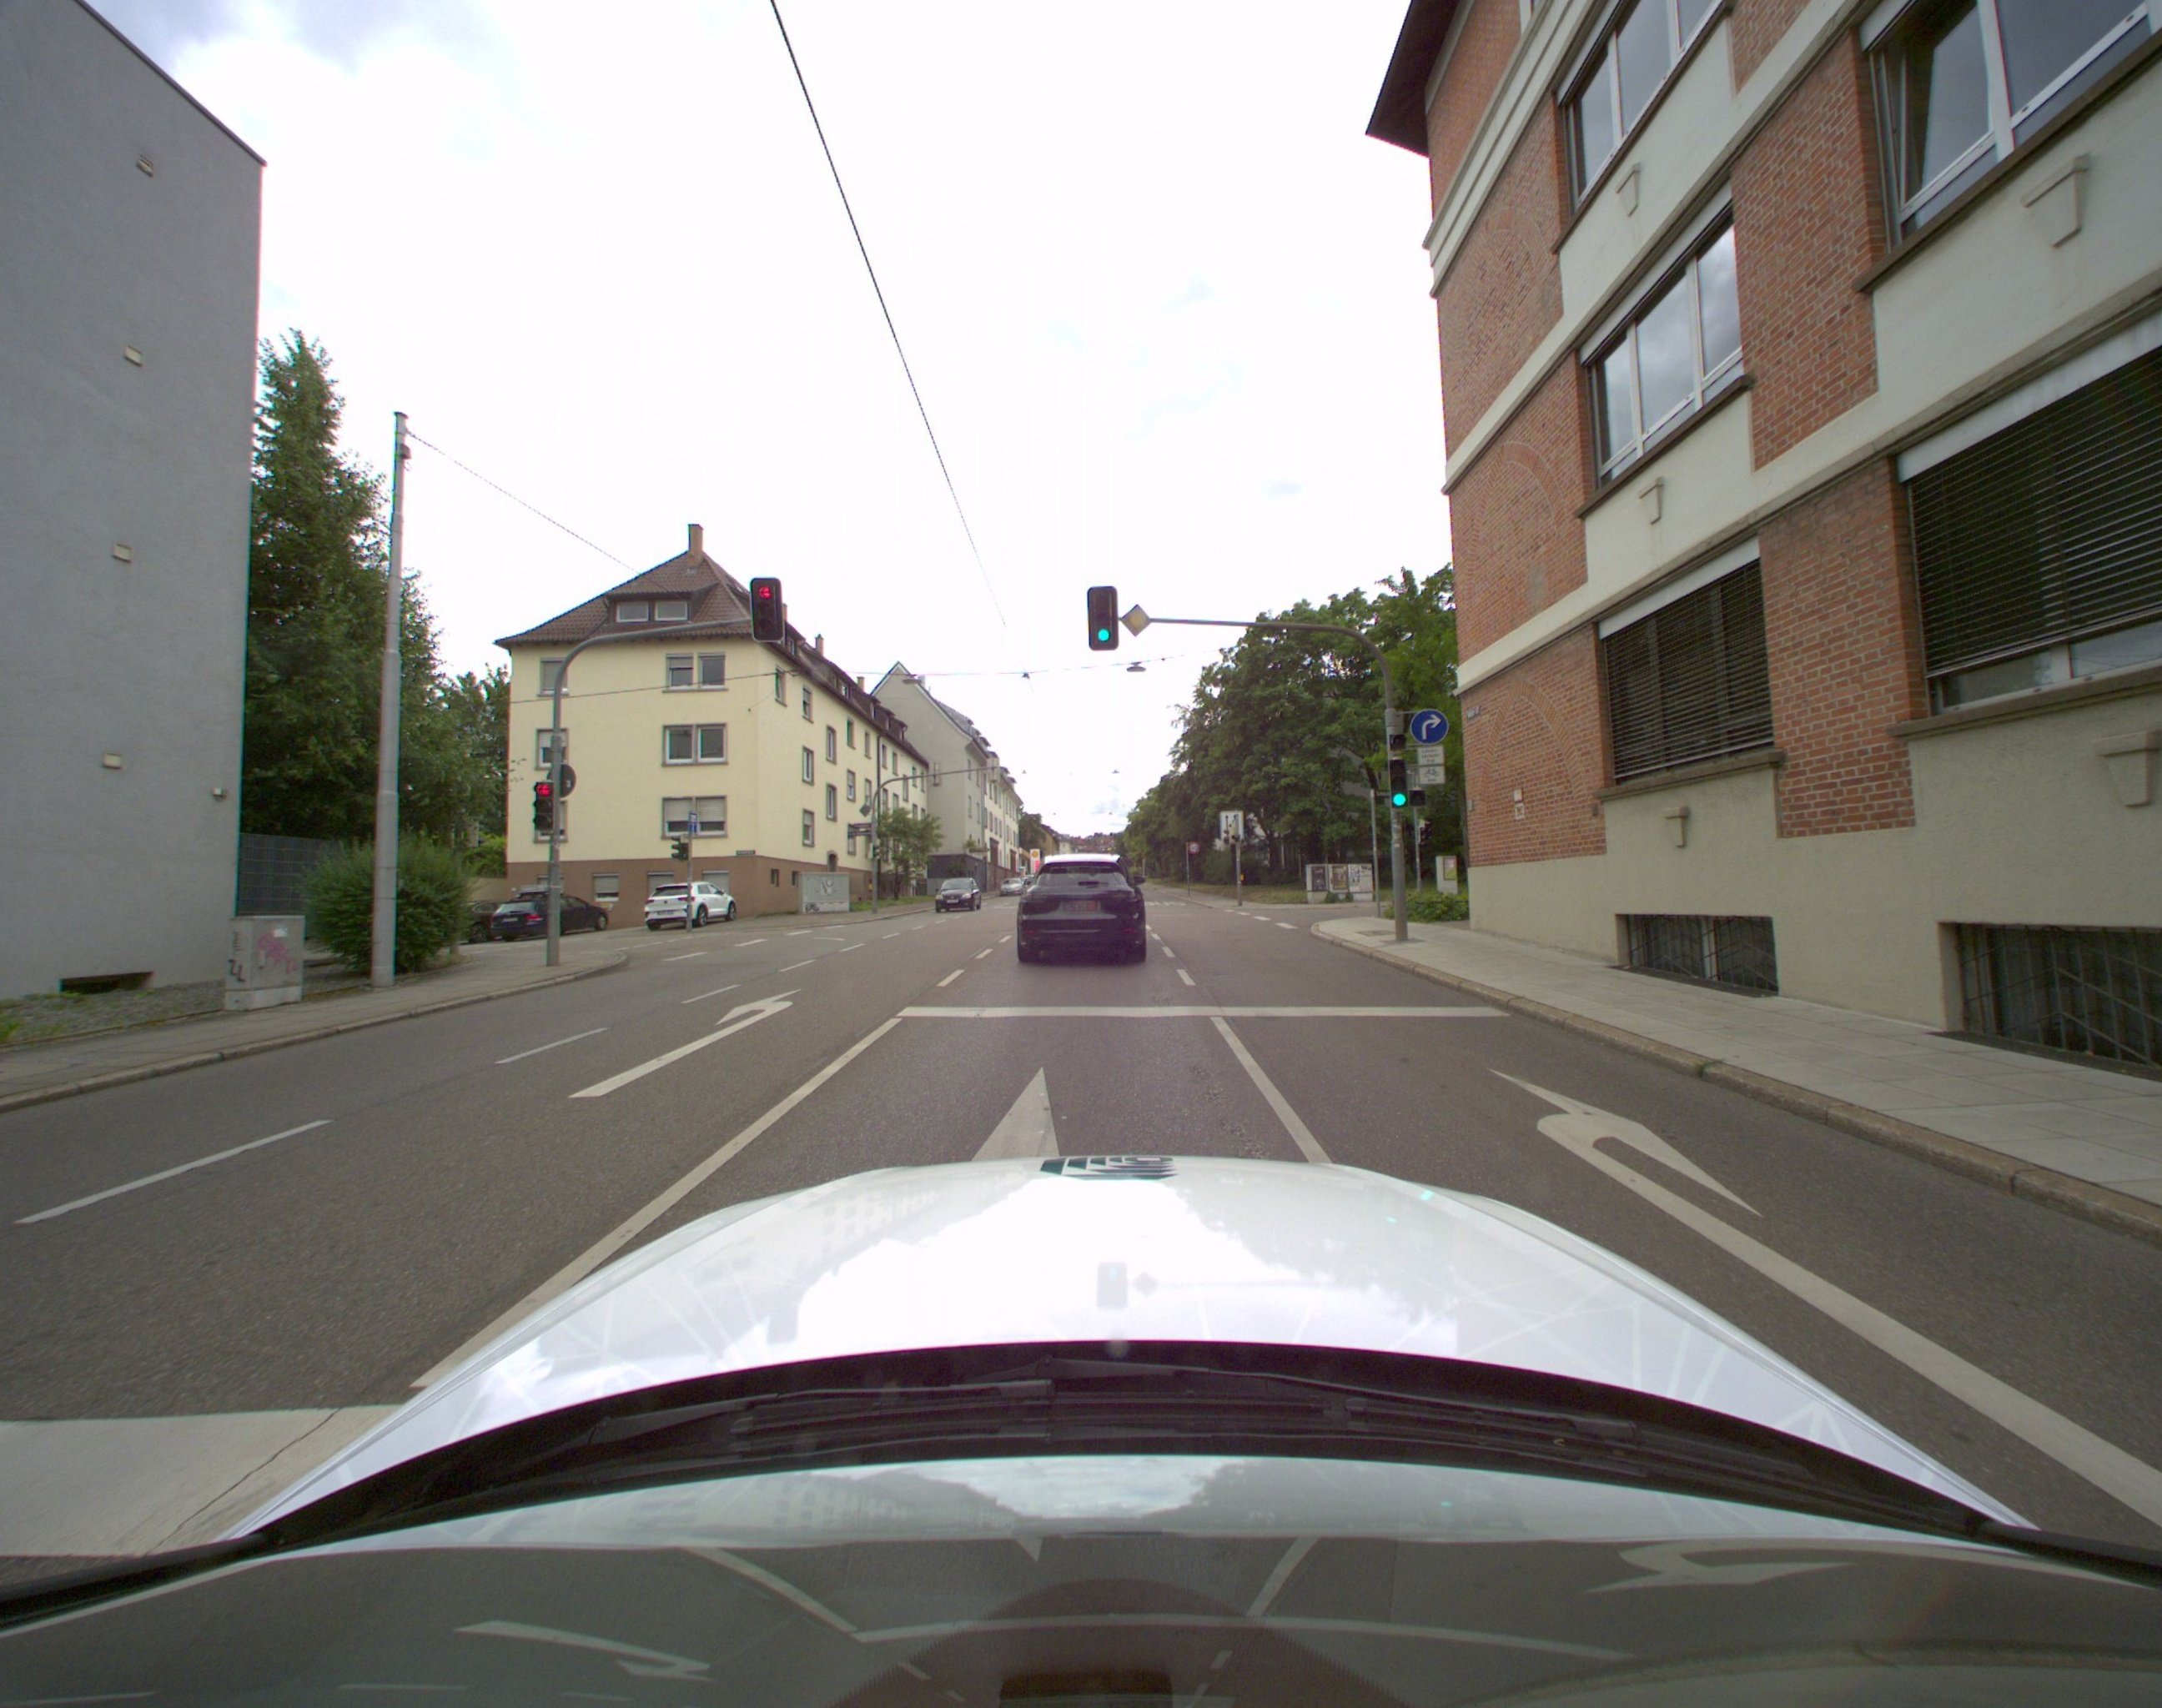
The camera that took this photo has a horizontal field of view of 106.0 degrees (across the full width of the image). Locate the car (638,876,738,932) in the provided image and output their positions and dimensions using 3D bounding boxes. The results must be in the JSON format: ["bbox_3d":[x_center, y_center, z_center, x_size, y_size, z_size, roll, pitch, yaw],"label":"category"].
[{"bbox_3d":[-13.775,1.692,28.808,1.666,1.662,3.996,-4,0,-3],"label":"car"}]

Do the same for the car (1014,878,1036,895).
[{"bbox_3d":[-4.921,2.891,72.105,1.664,1.362,3.999,-1,-1,0],"label":"car"}]

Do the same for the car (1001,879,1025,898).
[{"bbox_3d":[-5.335,2.693,64.335,1.665,1.362,3.998,-1,-1,-1],"label":"car"}]

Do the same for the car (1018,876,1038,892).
[{"bbox_3d":[-5.029,2.837,77.792,1.664,1.362,3.999,-1,-1,0],"label":"car"}]

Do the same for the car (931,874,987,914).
[{"bbox_3d":[-5.357,1.738,36.093,1.657,1.519,3.742,-5,-1,2],"label":"car"}]

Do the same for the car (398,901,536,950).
[{"bbox_3d":[-21.203,2.427,28.334,1.663,1.362,4.001,-1,-1,2],"label":"car"}]

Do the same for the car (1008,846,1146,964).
[{"bbox_3d":[0.008,0.754,13.737,1.986,1.697,4.001,0,-1,2],"label":"car"}]

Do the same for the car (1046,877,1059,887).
[{"bbox_3d":[-4.210,4.089,120.775,1.664,1.362,3.999,-1,-1,0],"label":"car"}]

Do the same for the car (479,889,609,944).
[{"bbox_3d":[-18.766,2.150,28.712,1.664,1.546,4.103,-4,-1,2],"label":"car"}]
